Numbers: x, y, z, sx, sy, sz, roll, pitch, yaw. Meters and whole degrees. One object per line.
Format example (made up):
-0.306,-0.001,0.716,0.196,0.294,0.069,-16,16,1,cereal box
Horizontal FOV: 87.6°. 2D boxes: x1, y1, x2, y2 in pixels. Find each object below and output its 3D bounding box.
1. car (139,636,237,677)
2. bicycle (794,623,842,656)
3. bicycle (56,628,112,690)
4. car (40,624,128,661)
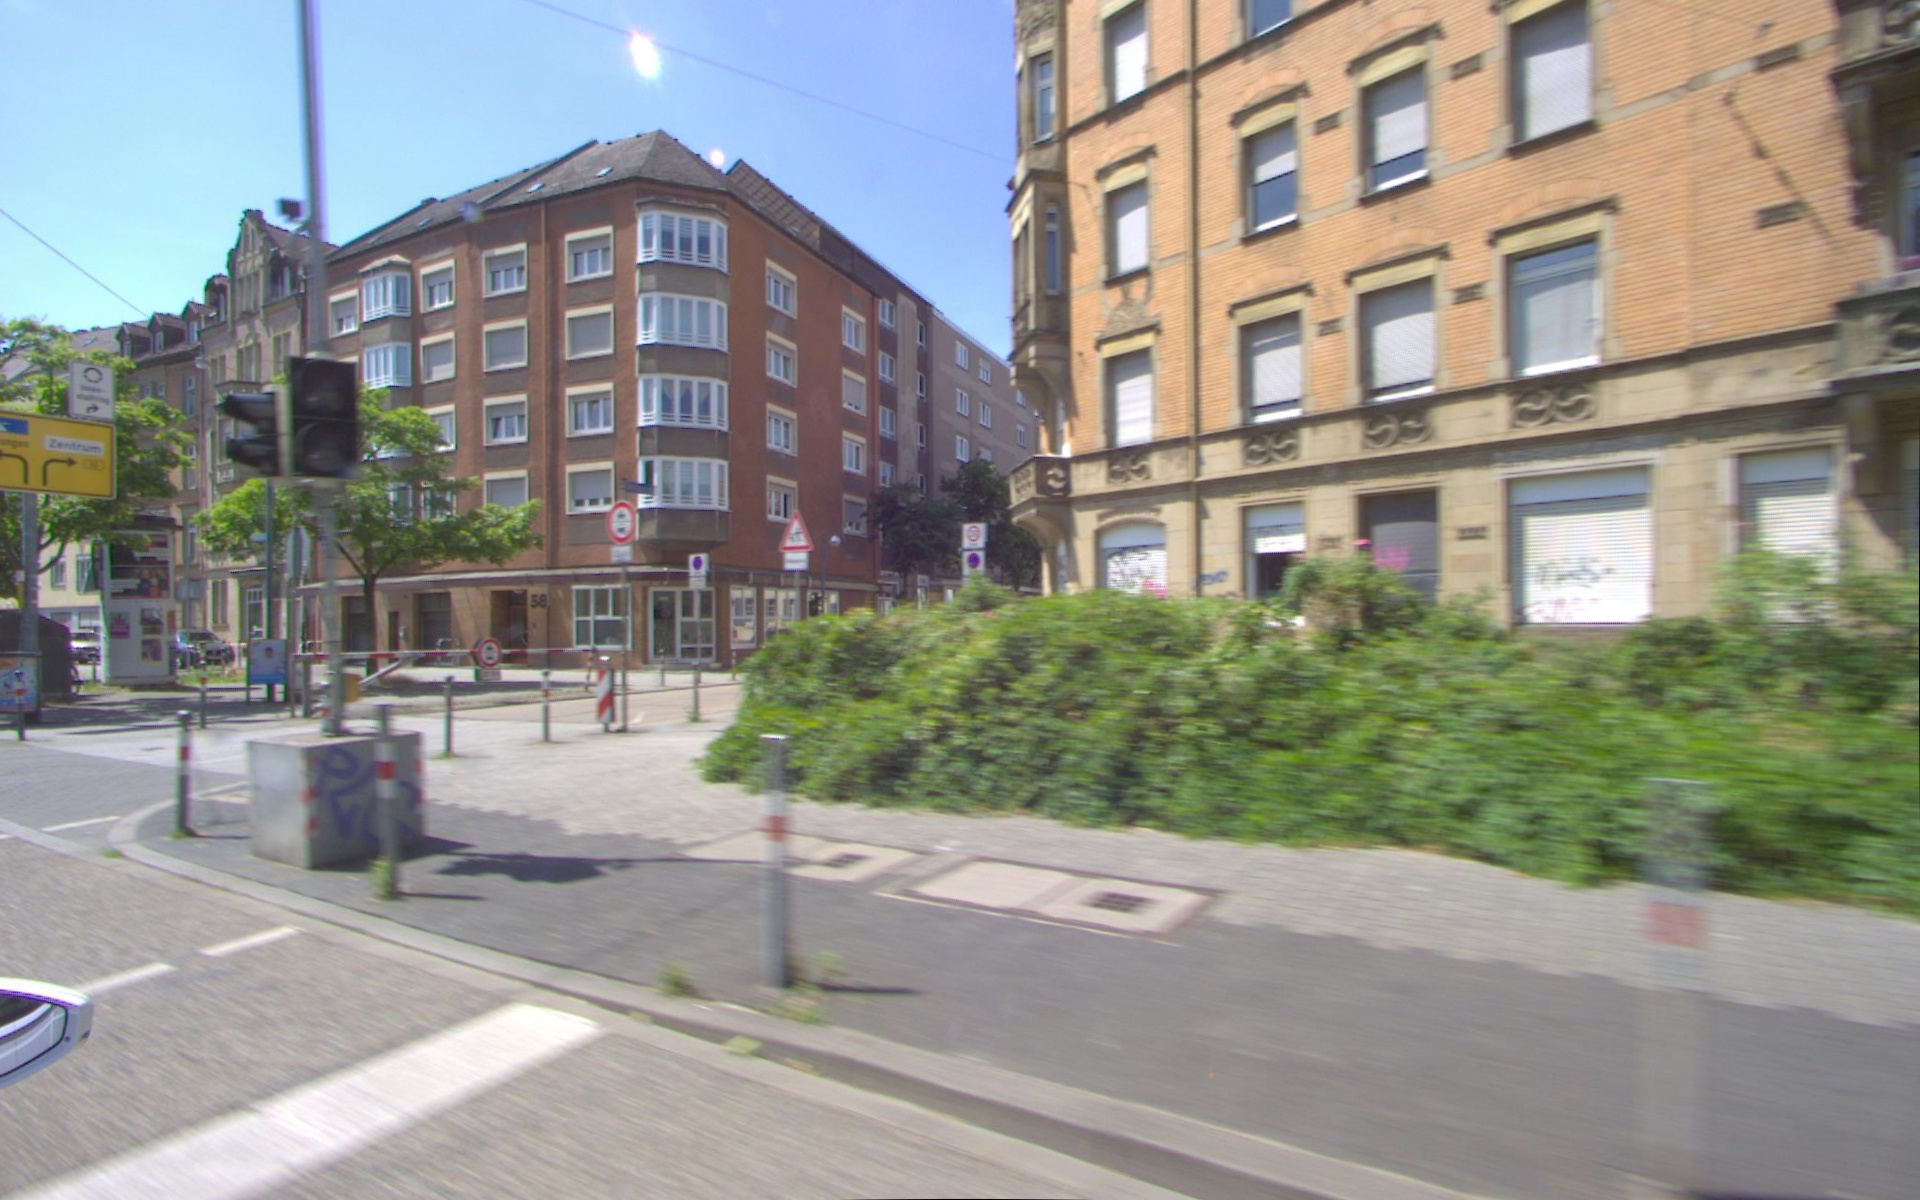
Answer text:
-32.359,2.349,41.933,4.538,1.620,1.989,-2,-3,36,car
-5.727,1.610,40.555,0.693,1.303,2.718,-1,-3,21,bicycle
-19.202,1.281,21.951,1.525,1.306,0.513,-1,-2,33,bicycle
-41.955,2.037,47.938,3.937,1.705,1.819,-1,-3,27,car
